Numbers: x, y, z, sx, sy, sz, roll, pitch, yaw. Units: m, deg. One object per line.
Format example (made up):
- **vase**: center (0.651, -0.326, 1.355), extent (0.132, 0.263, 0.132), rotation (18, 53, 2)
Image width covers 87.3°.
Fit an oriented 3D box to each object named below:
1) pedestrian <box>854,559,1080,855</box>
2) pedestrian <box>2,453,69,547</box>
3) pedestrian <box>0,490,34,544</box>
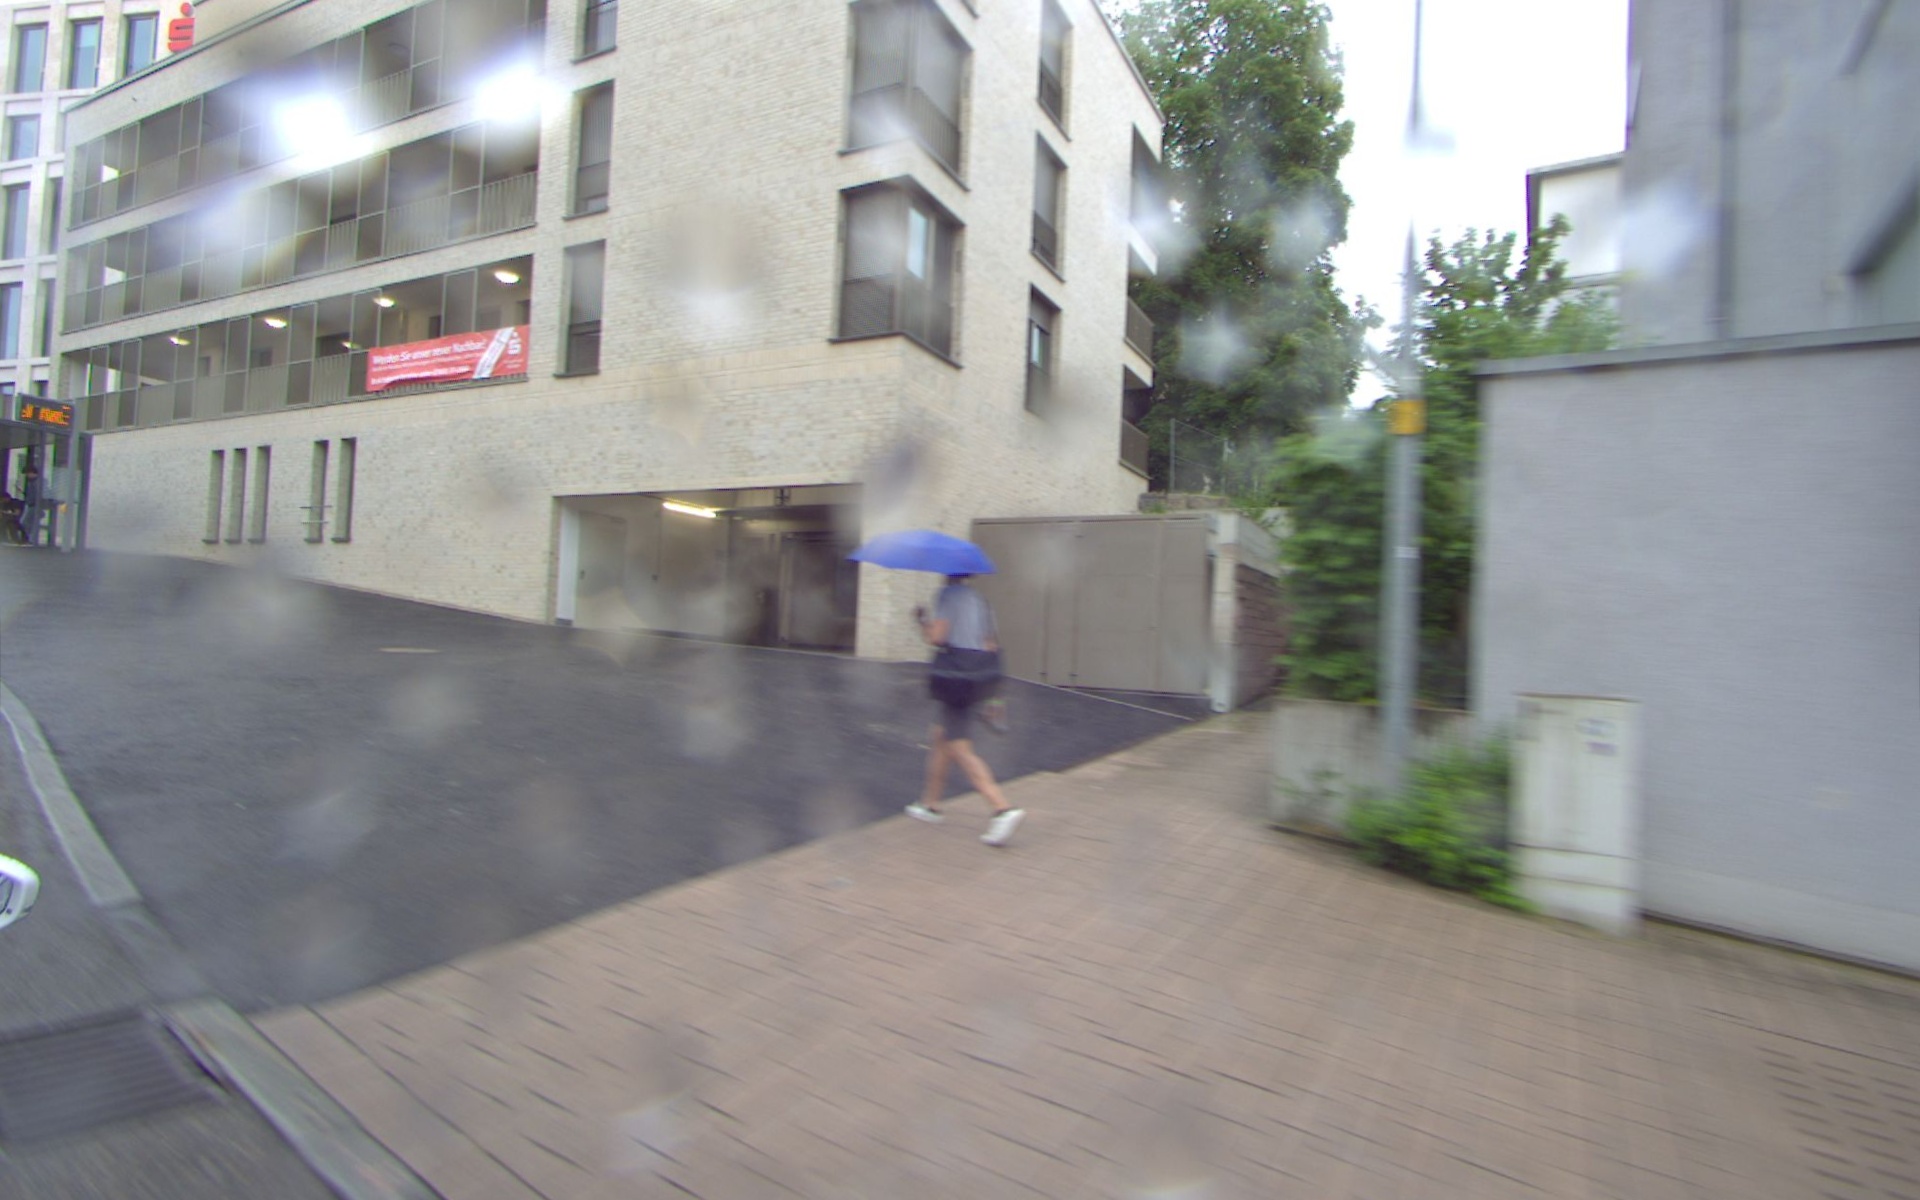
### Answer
- **pedestrian**: center (0.039, 0.582, 6.076), extent (1.021, 1.563, 0.735), rotation (6, 4, 34)
- **pedestrian**: center (-20.598, -2.225, 22.416), extent (1.004, 1.966, 0.782), rotation (6, 2, 31)
- **pedestrian**: center (-21.754, -1.909, 23.002), extent (0.624, 1.177, 0.672), rotation (6, 2, 31)
